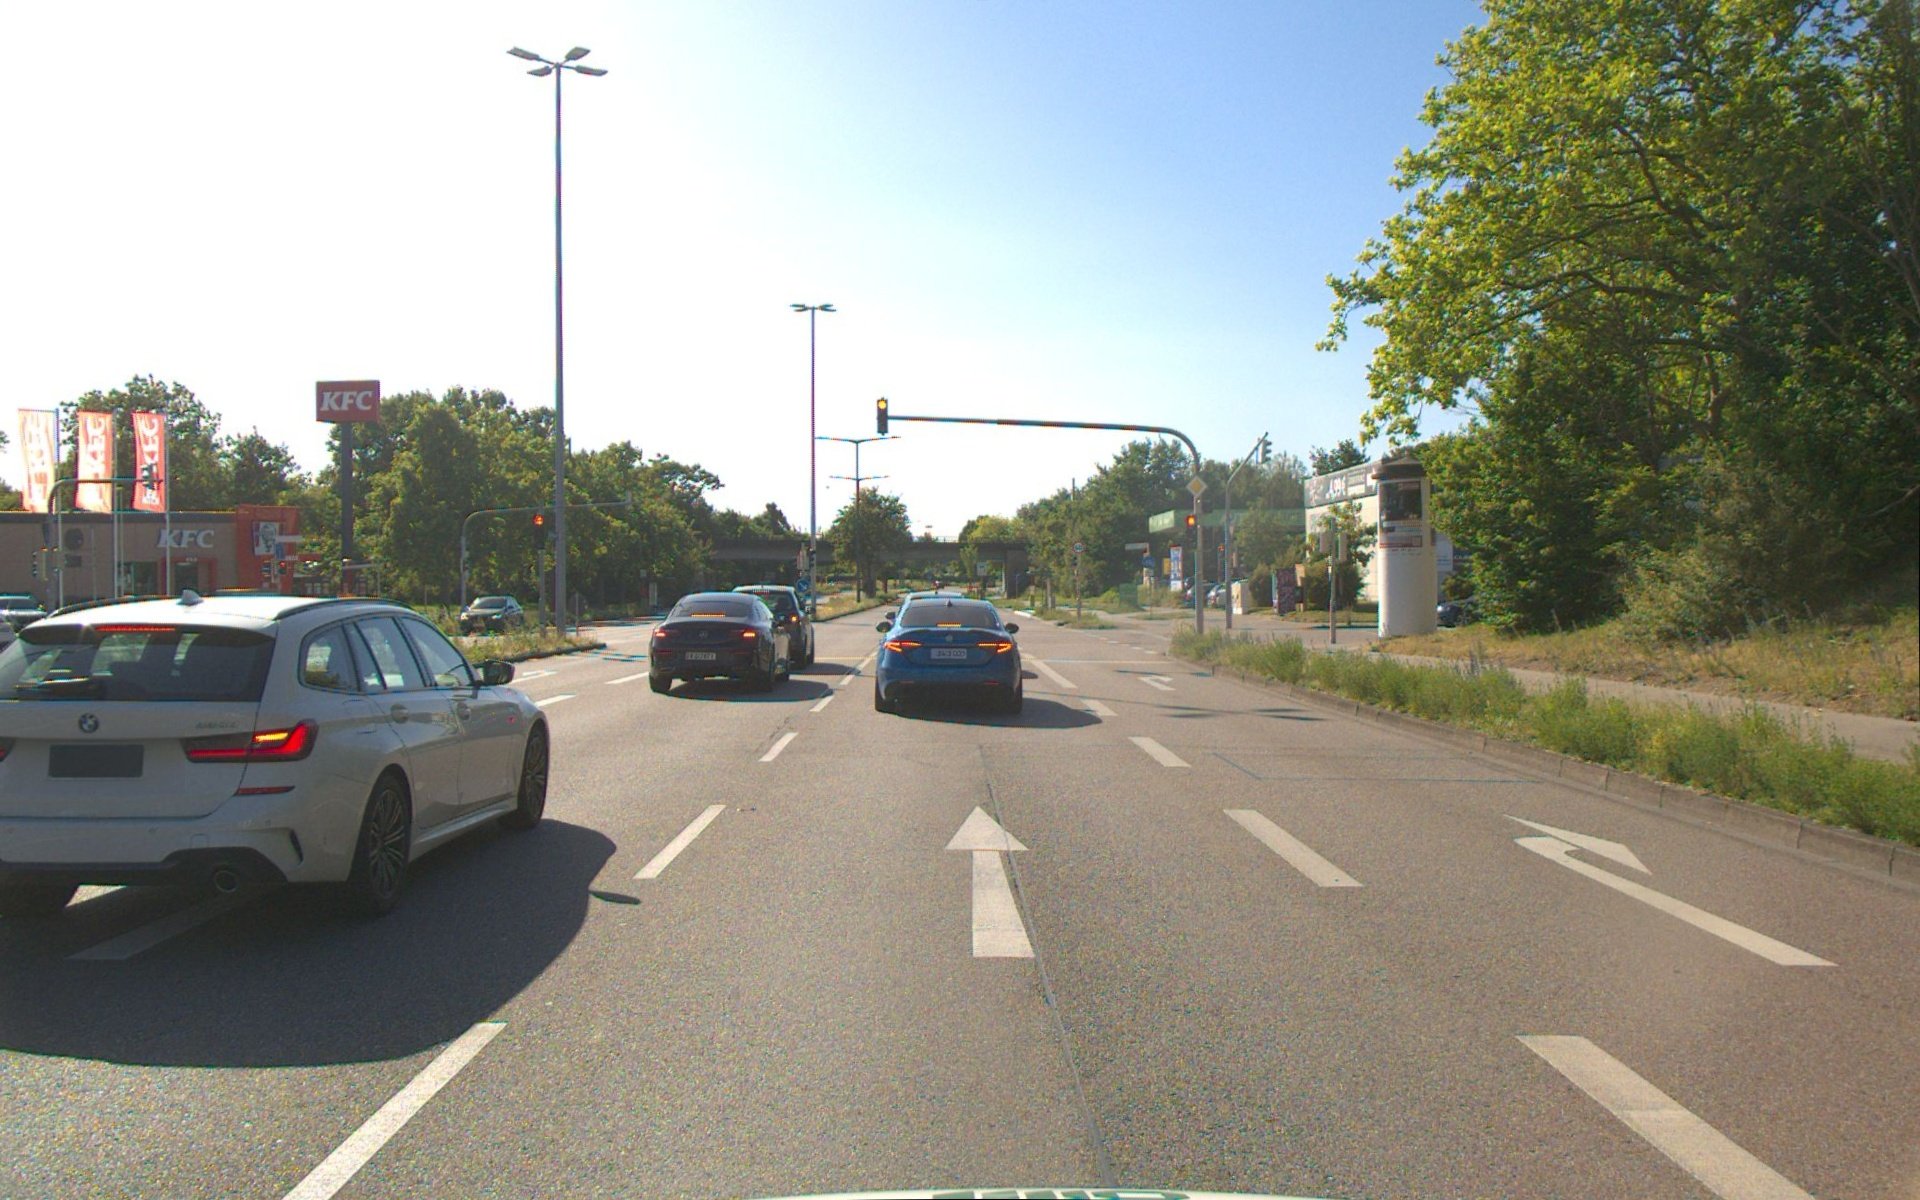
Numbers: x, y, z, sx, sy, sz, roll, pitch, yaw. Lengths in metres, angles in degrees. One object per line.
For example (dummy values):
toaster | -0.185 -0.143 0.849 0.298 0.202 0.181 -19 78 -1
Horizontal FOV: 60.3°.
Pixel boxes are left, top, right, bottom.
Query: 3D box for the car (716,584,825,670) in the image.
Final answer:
car | -3.708 0.512 32.948 1.776 1.578 4.351 1 0 -2

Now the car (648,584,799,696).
car | -3.581 0.563 25.749 1.775 1.578 4.542 0 0 -1

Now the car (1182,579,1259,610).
car | 14.208 -0.295 90.418 3.905 1.579 2.000 1 0 0

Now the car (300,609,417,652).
car | -22.974 1.155 63.231 1.966 1.586 3.747 0 -1 44

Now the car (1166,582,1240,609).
car | 14.541 -0.264 99.173 3.925 1.579 1.990 1 -1 -18

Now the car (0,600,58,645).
car | -39.132 0.920 68.567 4.026 1.770 1.922 0 -1 43

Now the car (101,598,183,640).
car | -35.767 0.829 72.261 4.026 1.770 1.922 0 -1 43

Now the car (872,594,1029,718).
car | -0.077 0.683 21.669 1.870 1.447 3.719 1 0 1

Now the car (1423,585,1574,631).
car | 18.840 0.282 57.931 4.722 1.493 1.758 1 0 -2

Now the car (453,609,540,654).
car | -19.436 1.283 69.552 1.764 1.756 4.326 0 1 11

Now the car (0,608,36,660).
car | -35.972 1.211 60.037 3.684 1.845 2.000 1 -1 -1

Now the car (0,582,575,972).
car | -3.458 0.705 8.789 1.775 1.512 4.595 1 0 -1

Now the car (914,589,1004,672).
car | 0.018 0.579 32.729 1.669 1.523 3.719 1 0 1
